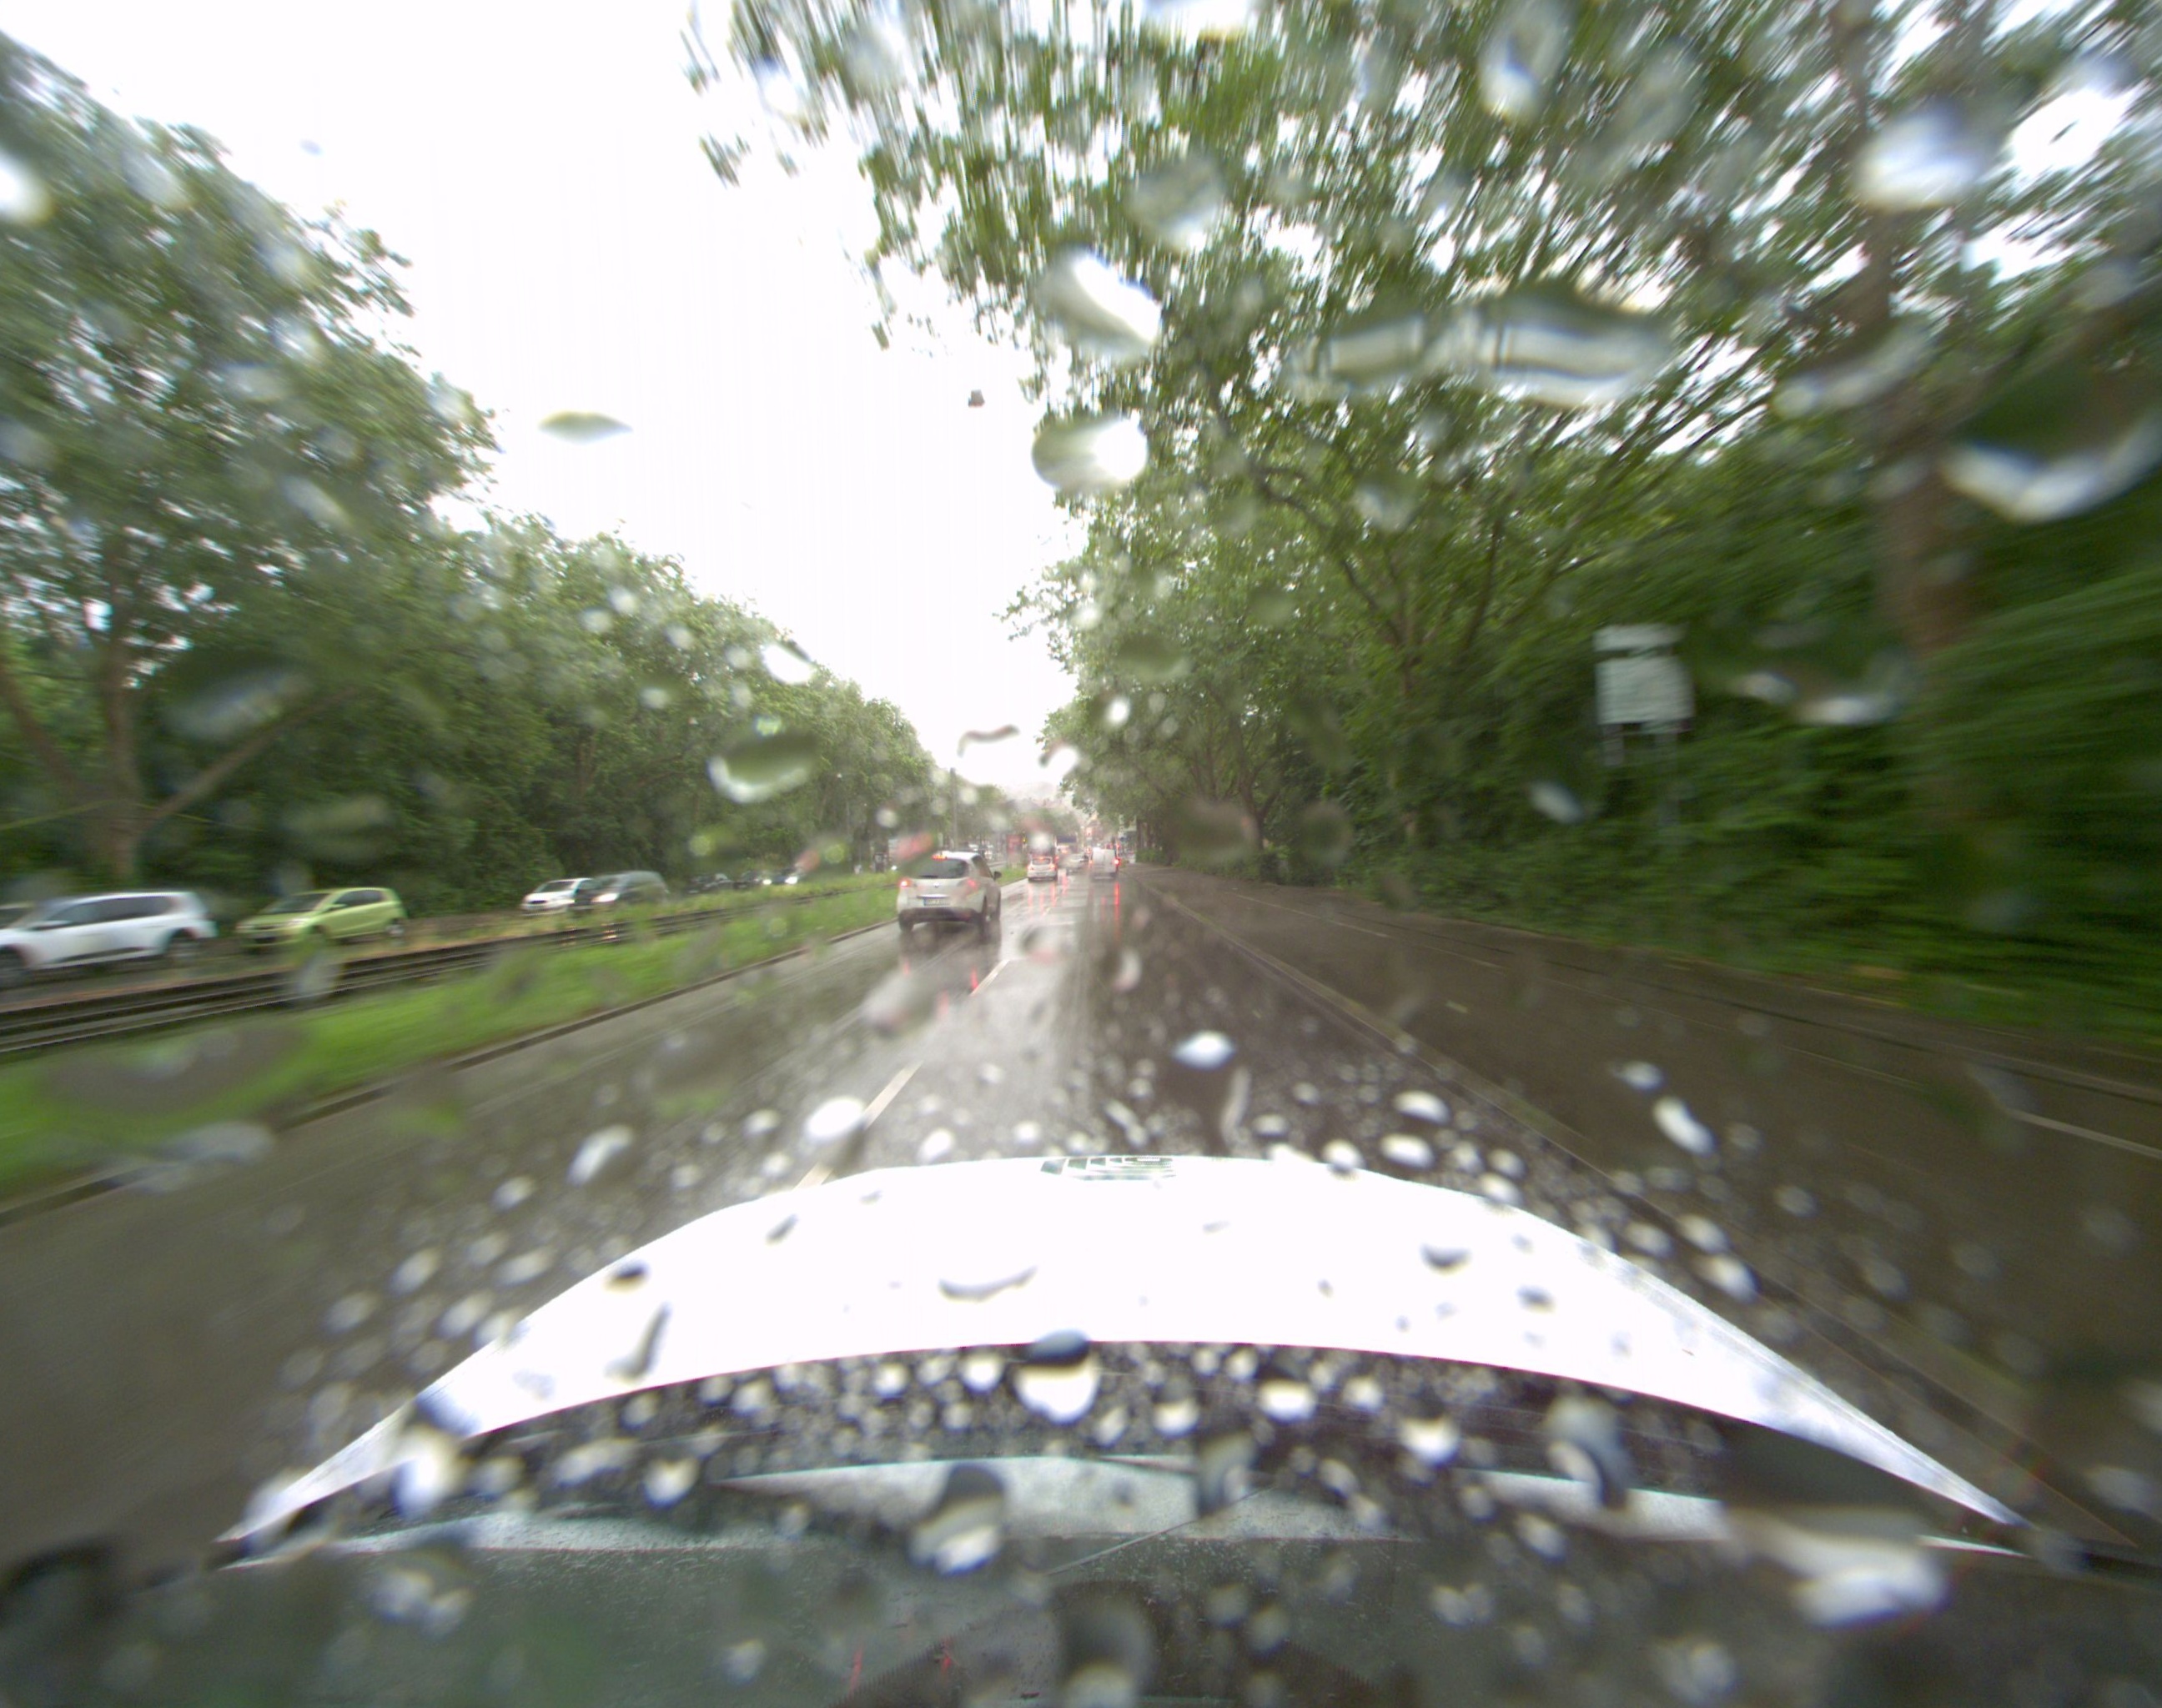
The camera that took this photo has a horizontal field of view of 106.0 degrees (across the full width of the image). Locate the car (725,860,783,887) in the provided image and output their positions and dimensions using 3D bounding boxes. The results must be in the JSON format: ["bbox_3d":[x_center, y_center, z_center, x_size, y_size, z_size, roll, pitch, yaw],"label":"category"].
[{"bbox_3d":[-21.200,1.252,53.067,2.026,1.657,4.606,-1,0,-2],"label":"car"}]

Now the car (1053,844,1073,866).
[{"bbox_3d":[-2.184,0.134,100.920,2.322,2.557,6.113,-1,-1,0],"label":"car"}]

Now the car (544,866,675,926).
[{"bbox_3d":[-16.080,1.374,28.072,2.026,1.751,4.256,-3,0,-2],"label":"car"}]

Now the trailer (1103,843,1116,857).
[{"bbox_3d":[5.213,-0.726,148.013,1.988,2.317,4.664,-1,-1,-2],"label":"trailer"}]

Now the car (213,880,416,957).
[{"bbox_3d":[-20.037,1.613,21.541,1.756,1.648,3.810,-3,0,-2],"label":"car"}]

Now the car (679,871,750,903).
[{"bbox_3d":[-20.554,1.821,45.856,2.026,1.658,4.605,-1,-1,-2],"label":"car"}]

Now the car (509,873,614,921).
[{"bbox_3d":[-20.695,1.663,32.650,1.756,1.648,3.810,-3,0,-2],"label":"car"}]

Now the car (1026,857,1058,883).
[{"bbox_3d":[-2.351,0.986,49.746,1.720,1.479,3.804,-1,-1,0],"label":"car"}]

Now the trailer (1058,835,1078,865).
[{"bbox_3d":[-1.748,-0.538,110.087,2.583,3.899,7.632,-1,0,-1],"label":"trailer"}]

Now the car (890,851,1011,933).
[{"bbox_3d":[-2.788,0.770,18.390,1.857,1.623,4.265,-1,0,2],"label":"car"}]

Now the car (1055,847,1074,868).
[{"bbox_3d":[-1.892,0.455,92.475,1.987,2.262,5.288,-1,-1,0],"label":"car"}]

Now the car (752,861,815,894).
[{"bbox_3d":[-17.471,1.352,48.096,2.026,1.751,4.690,-3,0,-2],"label":"car"}]

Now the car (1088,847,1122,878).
[{"bbox_3d":[1.398,0.503,49.012,1.953,1.777,3.569,-1,-1,0],"label":"car"}]

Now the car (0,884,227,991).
[{"bbox_3d":[-19.554,1.551,15.554,1.746,1.728,4.528,-3,0,-2],"label":"car"}]

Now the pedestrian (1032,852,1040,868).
[{"bbox_3d":[-4.762,0.655,85.888,0.788,1.714,0.770,0,-2,-1],"label":"pedestrian"}]

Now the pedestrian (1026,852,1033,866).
[{"bbox_3d":[-6.225,0.606,98.242,0.713,1.744,0.750,-2,-1,-1],"label":"pedestrian"}]

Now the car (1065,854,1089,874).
[{"bbox_3d":[-0.319,0.843,68.646,1.901,1.618,4.001,-1,-1,2],"label":"car"}]
